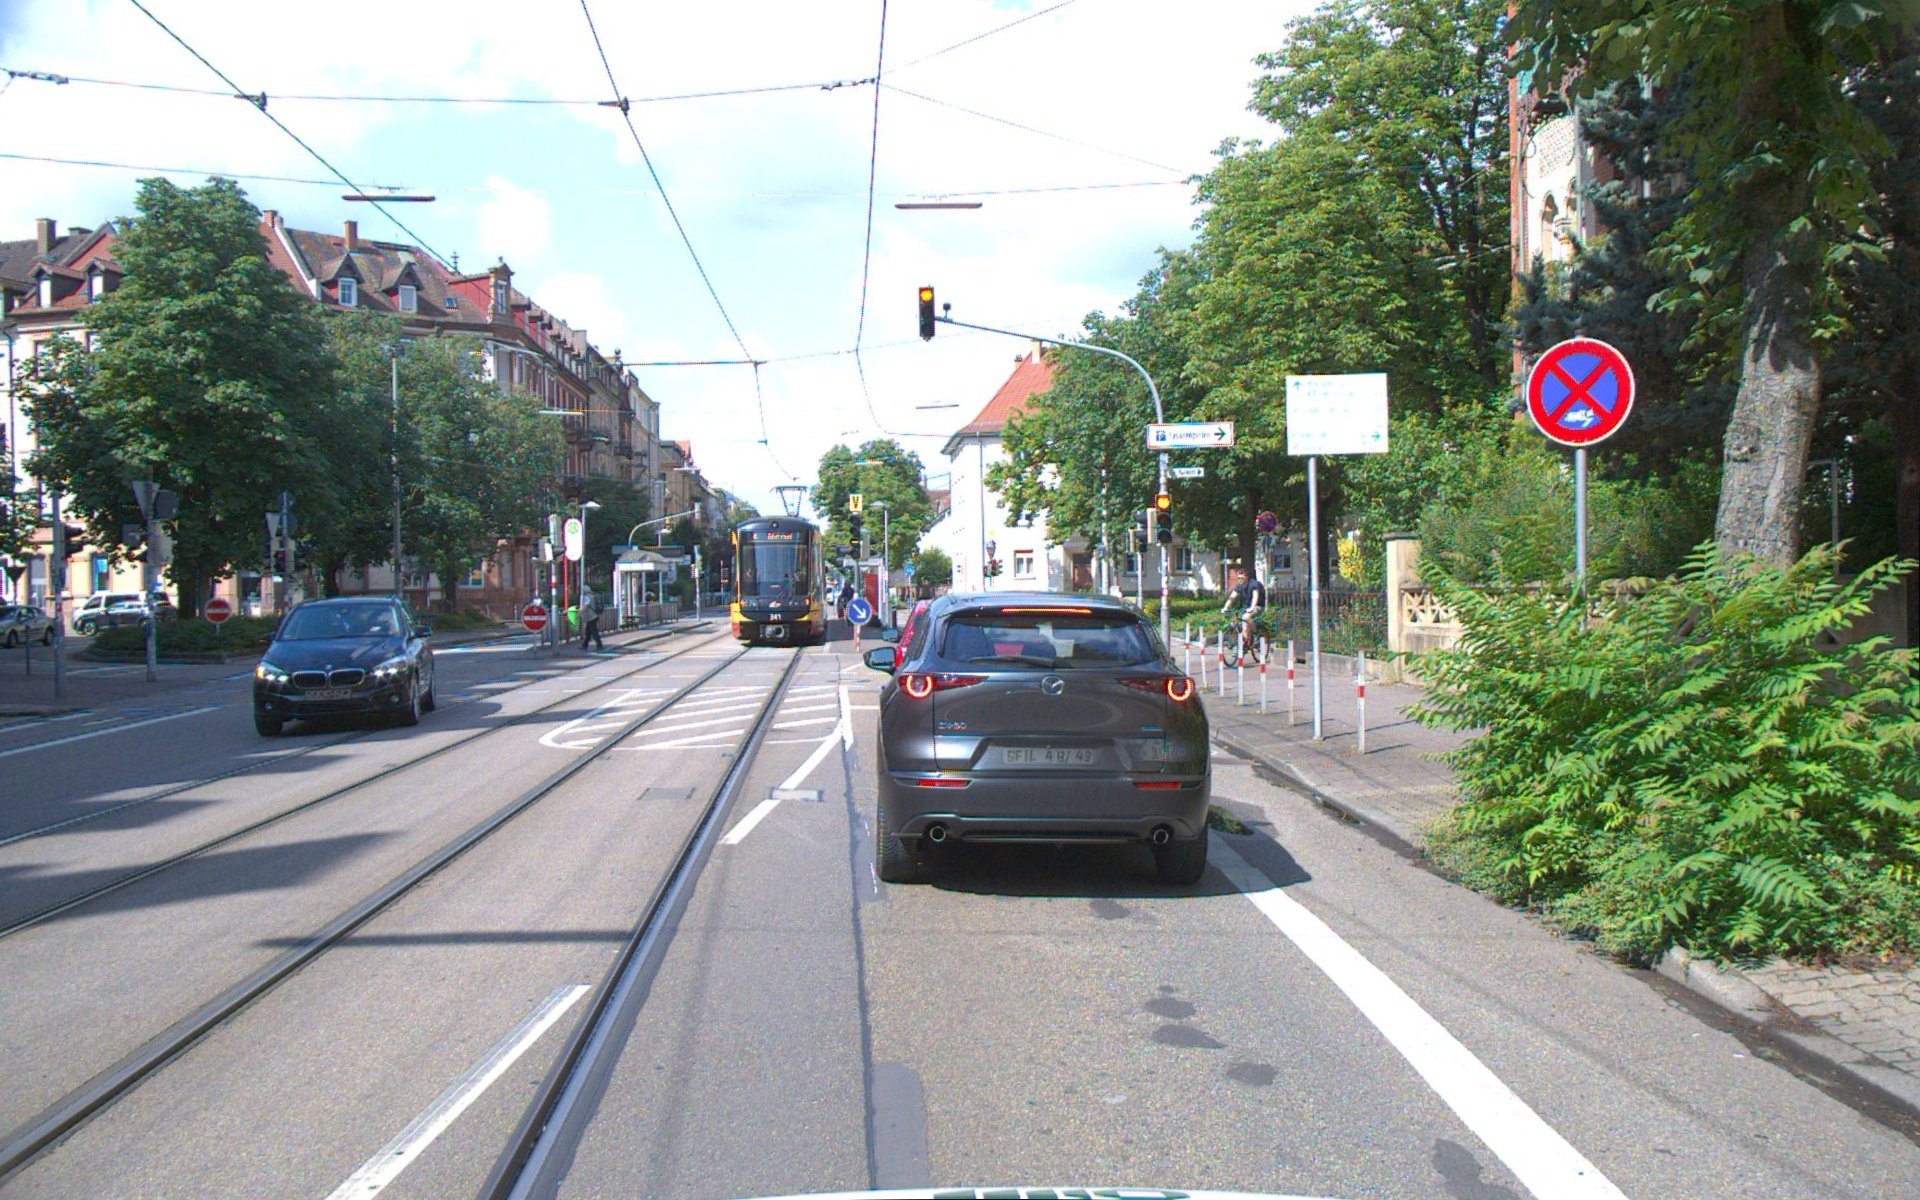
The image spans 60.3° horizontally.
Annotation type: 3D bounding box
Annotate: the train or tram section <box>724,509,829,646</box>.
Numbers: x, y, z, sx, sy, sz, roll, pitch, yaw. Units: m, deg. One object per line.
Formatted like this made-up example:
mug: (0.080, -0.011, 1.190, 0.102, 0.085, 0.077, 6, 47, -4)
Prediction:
train or tram section: (-5.421, -0.753, 50.702, 2.699, 3.551, 14.395, -1, 1, -5)

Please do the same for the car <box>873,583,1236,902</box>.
car: (0.422, 0.680, 10.040, 1.742, 1.526, 3.999, 1, 0, -1)

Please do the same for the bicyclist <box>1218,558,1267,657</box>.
bicyclist: (5.308, 0.136, 31.101, 0.604, 1.824, 0.649, -1, 0, -38)

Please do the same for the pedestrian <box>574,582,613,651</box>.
pedestrian: (-9.393, 0.410, 42.410, 0.701, 1.735, 0.825, -1, 0, 9)

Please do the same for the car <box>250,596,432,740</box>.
car: (-7.520, 0.744, 20.418, 1.727, 1.545, 4.051, -1, 0, -16)

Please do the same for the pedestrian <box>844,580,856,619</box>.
pedestrian: (-4.201, -0.022, 63.131, 0.441, 1.459, 0.474, -1, 0, -6)

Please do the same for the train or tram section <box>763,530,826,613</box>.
train or tram section: (-7.810, -1.416, 79.363, 2.699, 3.551, 14.395, -1, 1, -5)

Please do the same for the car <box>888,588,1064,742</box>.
car: (0.120, 0.639, 18.641, 1.742, 1.526, 3.999, 1, 0, -1)

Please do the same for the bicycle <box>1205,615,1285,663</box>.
bicycle: (5.373, 0.719, 31.132, 1.682, 0.838, 0.487, -1, 0, -40)

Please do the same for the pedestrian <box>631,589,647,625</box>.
pedestrian: (-12.482, 0.272, 64.309, 0.420, 1.423, 0.397, -1, 0, 30)

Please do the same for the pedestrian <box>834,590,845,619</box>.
pedestrian: (-4.558, 0.158, 62.583, 0.372, 1.089, 0.474, -1, 0, -4)

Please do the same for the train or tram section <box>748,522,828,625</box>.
train or tram section: (-6.605, -1.077, 65.017, 2.699, 3.551, 14.395, -1, 1, -5)

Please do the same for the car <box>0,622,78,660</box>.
car: (-33.277, 1.448, 58.476, 1.637, 1.203, 4.003, -1, 0, 8)
